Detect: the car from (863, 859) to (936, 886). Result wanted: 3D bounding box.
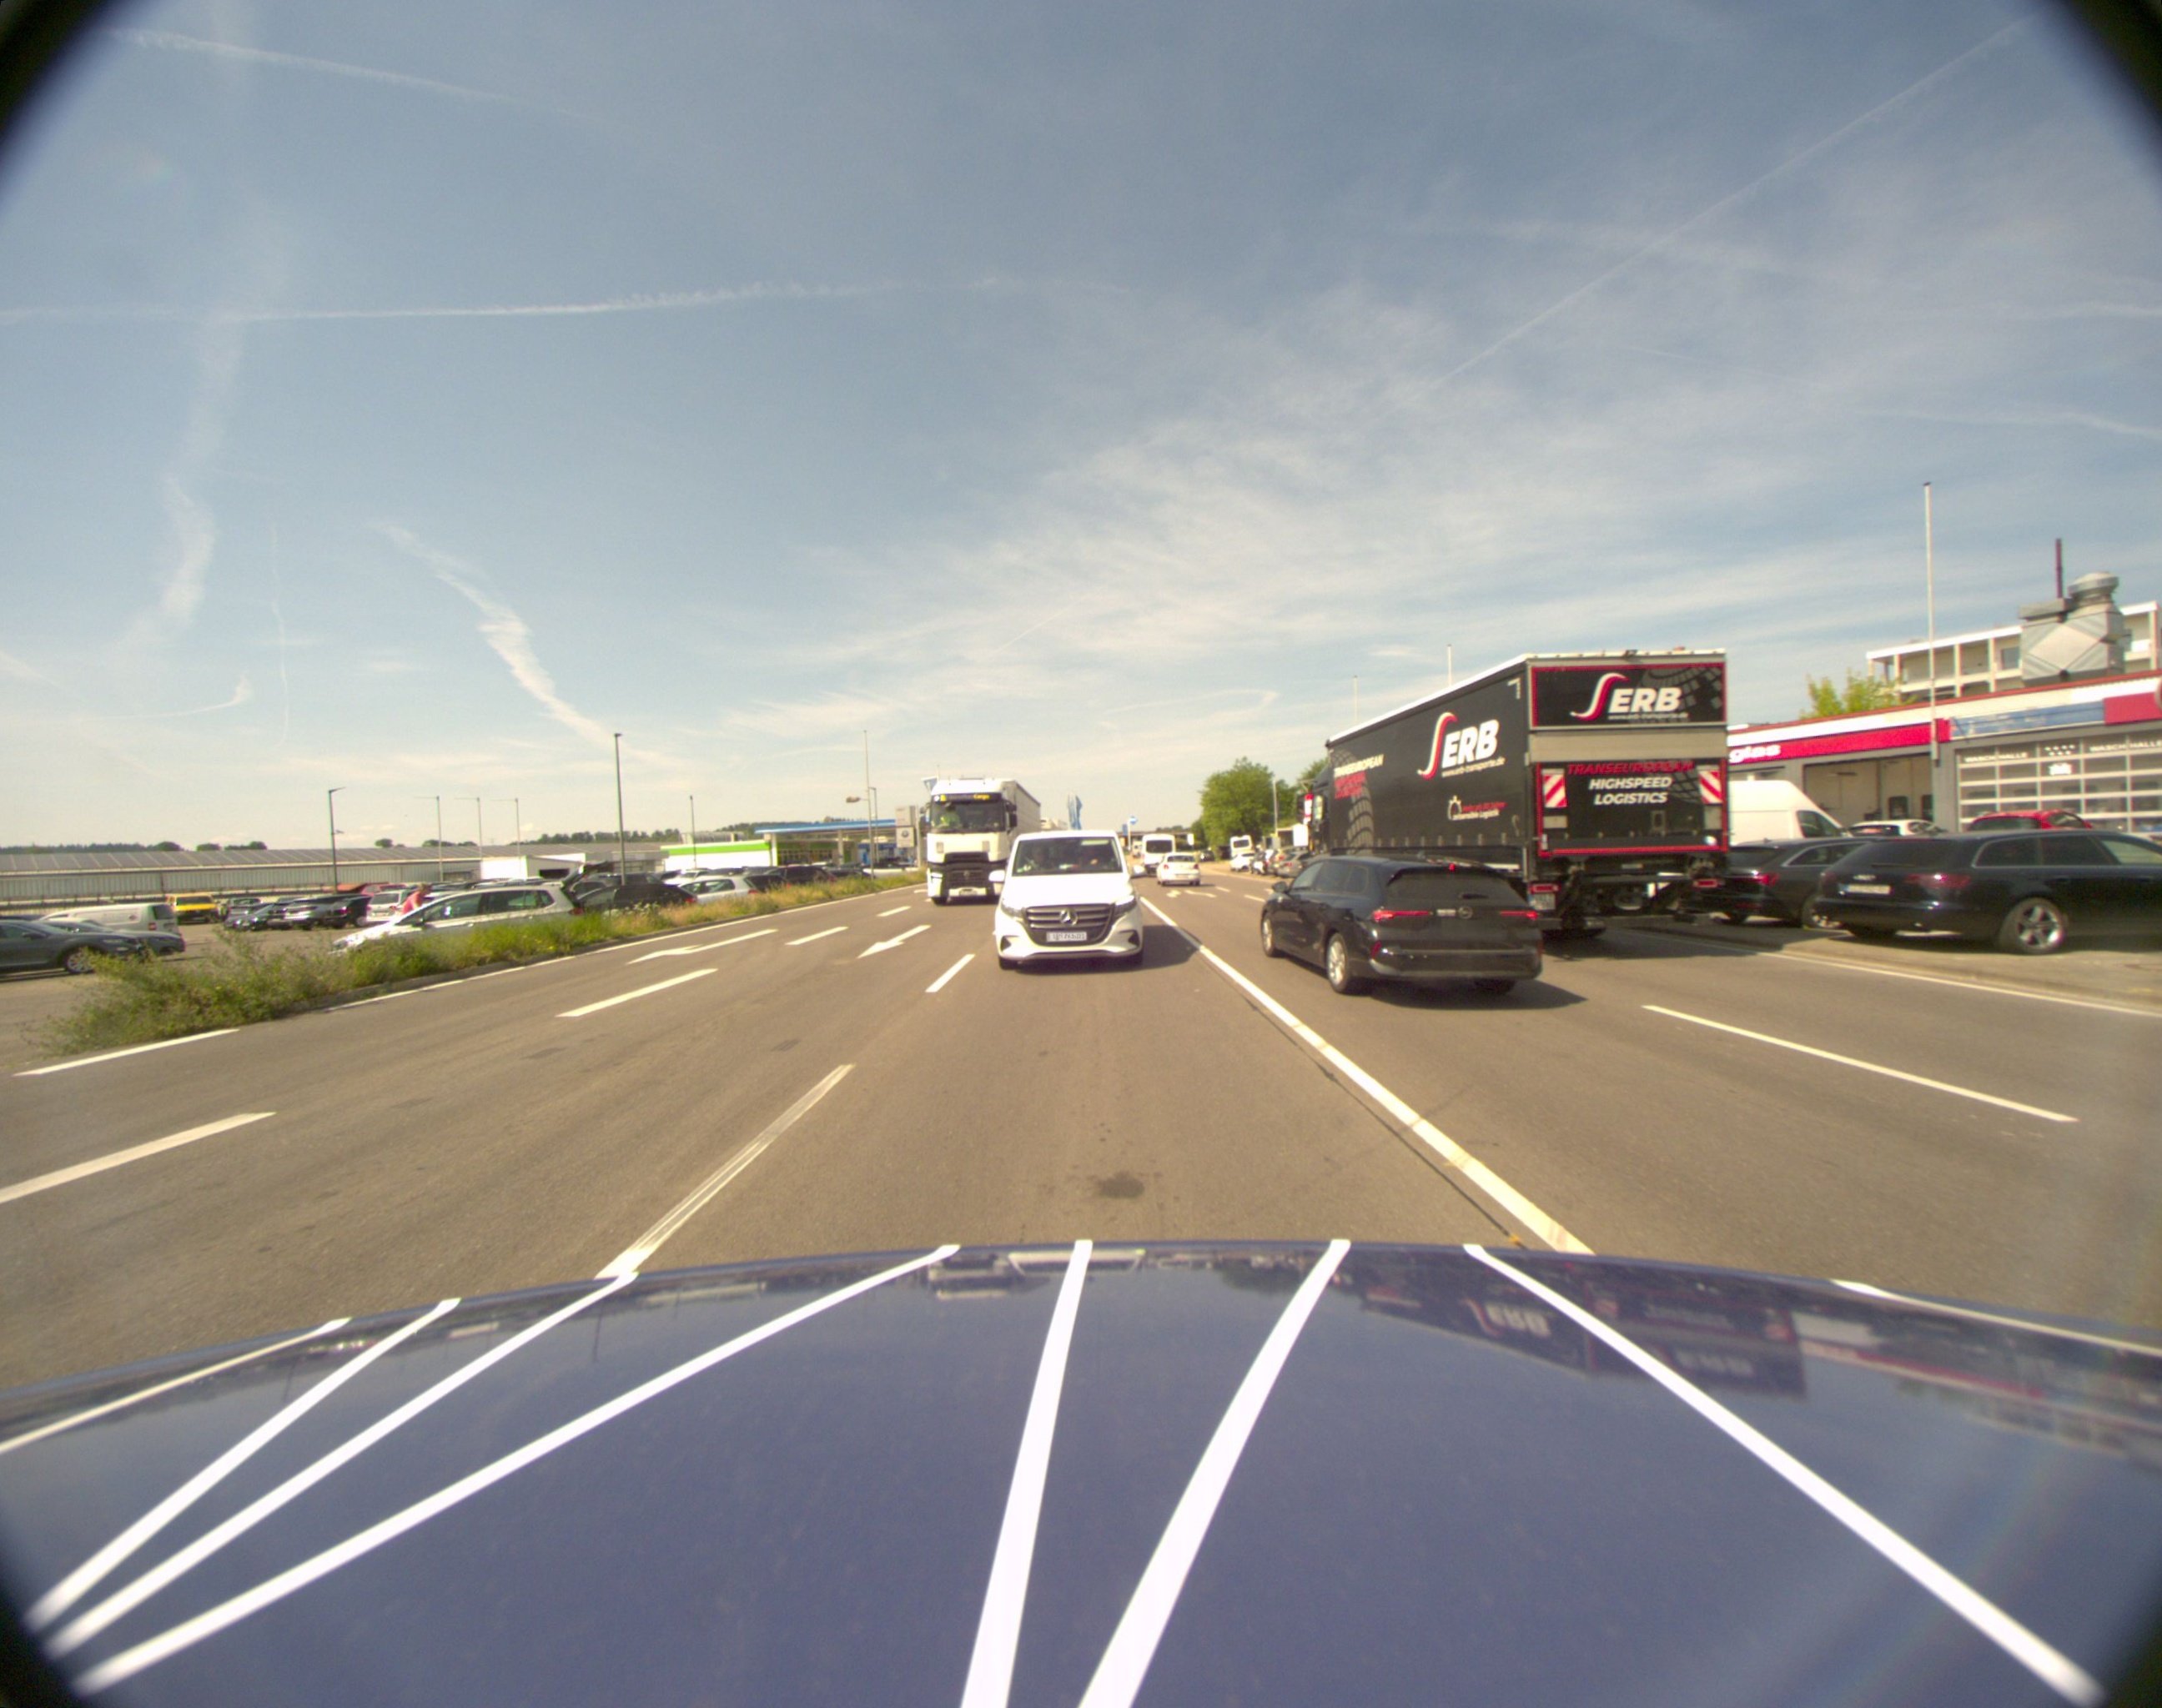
[{"bbox_3d":[-12.356,1.231,51.672,4.543,1.645,1.772,-2,1,-25],"label":"car"}]

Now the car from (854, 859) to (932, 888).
[{"bbox_3d":[-12.094,1.245,48.839,4.543,1.645,1.772,-2,1,-26],"label":"car"}]

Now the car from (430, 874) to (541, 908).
[{"bbox_3d":[-33.532,2.058,42.939,1.819,1.574,4.544,-1,1,22],"label":"car"}]

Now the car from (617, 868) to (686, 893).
[{"bbox_3d":[-32.568,1.985,57.791,1.772,1.645,4.543,-2,1,16],"label":"car"}]

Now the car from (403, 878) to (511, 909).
[{"bbox_3d":[-36.888,2.308,45.064,1.819,1.466,4.544,-1,1,22],"label":"car"}]

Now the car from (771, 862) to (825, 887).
[{"bbox_3d":[-20.393,1.476,55.042,1.774,1.571,4.539,-2,1,6],"label":"car"}]

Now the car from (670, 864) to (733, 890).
[{"bbox_3d":[-27.958,1.675,56.130,1.773,1.645,4.541,-2,1,10],"label":"car"}]

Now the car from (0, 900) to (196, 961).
[{"bbox_3d":[-38.844,2.955,30.079,4.544,1.937,1.772,-2,1,-28],"label":"car"}]

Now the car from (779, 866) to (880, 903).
[{"bbox_3d":[-12.778,1.506,38.699,4.545,1.571,1.772,-2,1,-31],"label":"car"}]

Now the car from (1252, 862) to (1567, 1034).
[{"bbox_3d":[3.394,0.847,8.893,1.716,1.435,4.377,0,1,-1],"label":"car"}]

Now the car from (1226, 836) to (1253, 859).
[{"bbox_3d":[18.320,-0.736,88.051,2.438,2.529,5.341,-3,0,5],"label":"car"}]

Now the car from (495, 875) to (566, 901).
[{"bbox_3d":[-39.852,2.435,55.016,4.527,1.718,2.072,-2,1,24],"label":"car"}]

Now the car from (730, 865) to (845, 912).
[{"bbox_3d":[-11.789,1.333,30.591,4.006,1.645,1.772,-2,1,-32],"label":"car"}]

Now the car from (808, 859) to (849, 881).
[{"bbox_3d":[-22.072,1.371,66.564,1.712,1.703,4.261,-2,1,6],"label":"car"}]

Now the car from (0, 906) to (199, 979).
[{"bbox_3d":[-28.240,2.464,21.455,4.084,1.645,1.771,-2,1,-41],"label":"car"}]

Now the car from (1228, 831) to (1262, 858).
[{"bbox_3d":[16.639,-1.000,76.647,2.435,2.529,6.050,-3,0,20],"label":"car"}]

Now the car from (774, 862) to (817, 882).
[{"bbox_3d":[-24.848,1.524,66.308,1.774,1.571,4.239,-2,1,6],"label":"car"}]

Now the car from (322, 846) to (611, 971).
[{"bbox_3d":[-12.395,0.999,15.761,4.355,2.200,1.759,-2,1,-29],"label":"car"}]

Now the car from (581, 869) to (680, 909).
[{"bbox_3d":[-21.674,1.634,36.803,1.774,1.645,4.539,-2,1,4],"label":"car"}]

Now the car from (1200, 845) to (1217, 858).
[{"bbox_3d":[15.114,-0.266,90.398,1.827,1.517,4.461,0,0,7],"label":"car"}]

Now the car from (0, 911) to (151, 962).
[{"bbox_3d":[-37.448,3.018,27.672,4.082,1.483,1.772,-2,1,-28],"label":"car"}]

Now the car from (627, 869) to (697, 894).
[{"bbox_3d":[-28.017,1.823,50.989,1.774,1.433,4.539,-2,1,6],"label":"car"}]

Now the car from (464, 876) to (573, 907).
[{"bbox_3d":[-31.110,2.029,42.199,1.819,1.423,4.491,-1,1,22],"label":"car"}]

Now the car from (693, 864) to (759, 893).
[{"bbox_3d":[-23.283,1.579,49.984,1.774,1.645,4.539,-2,1,6],"label":"car"}]

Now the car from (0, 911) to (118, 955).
[{"bbox_3d":[-48.385,3.672,35.493,3.913,1.720,1.982,-2,1,-7],"label":"car"}]

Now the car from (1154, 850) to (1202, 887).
[{"bbox_3d":[4.241,0.585,33.642,1.657,1.546,4.000,0,1,1],"label":"car"}]

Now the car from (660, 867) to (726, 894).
[{"bbox_3d":[-25.714,1.713,50.561,1.689,1.517,4.539,-2,1,6],"label":"car"}]

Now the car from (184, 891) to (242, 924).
[{"bbox_3d":[-58.072,3.522,50.831,4.148,1.920,2.215,-1,1,37],"label":"car"}]

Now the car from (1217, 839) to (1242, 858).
[{"bbox_3d":[18.265,-0.687,93.909,2.438,2.250,5.341,-3,0,5],"label":"car"}]

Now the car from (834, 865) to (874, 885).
[{"bbox_3d":[-19.711,1.802,66.170,1.774,1.571,4.149,-2,1,6],"label":"car"}]

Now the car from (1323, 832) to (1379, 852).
[{"bbox_3d":[24.387,-1.074,68.603,4.539,1.644,1.873,-2,1,-18],"label":"car"}]
